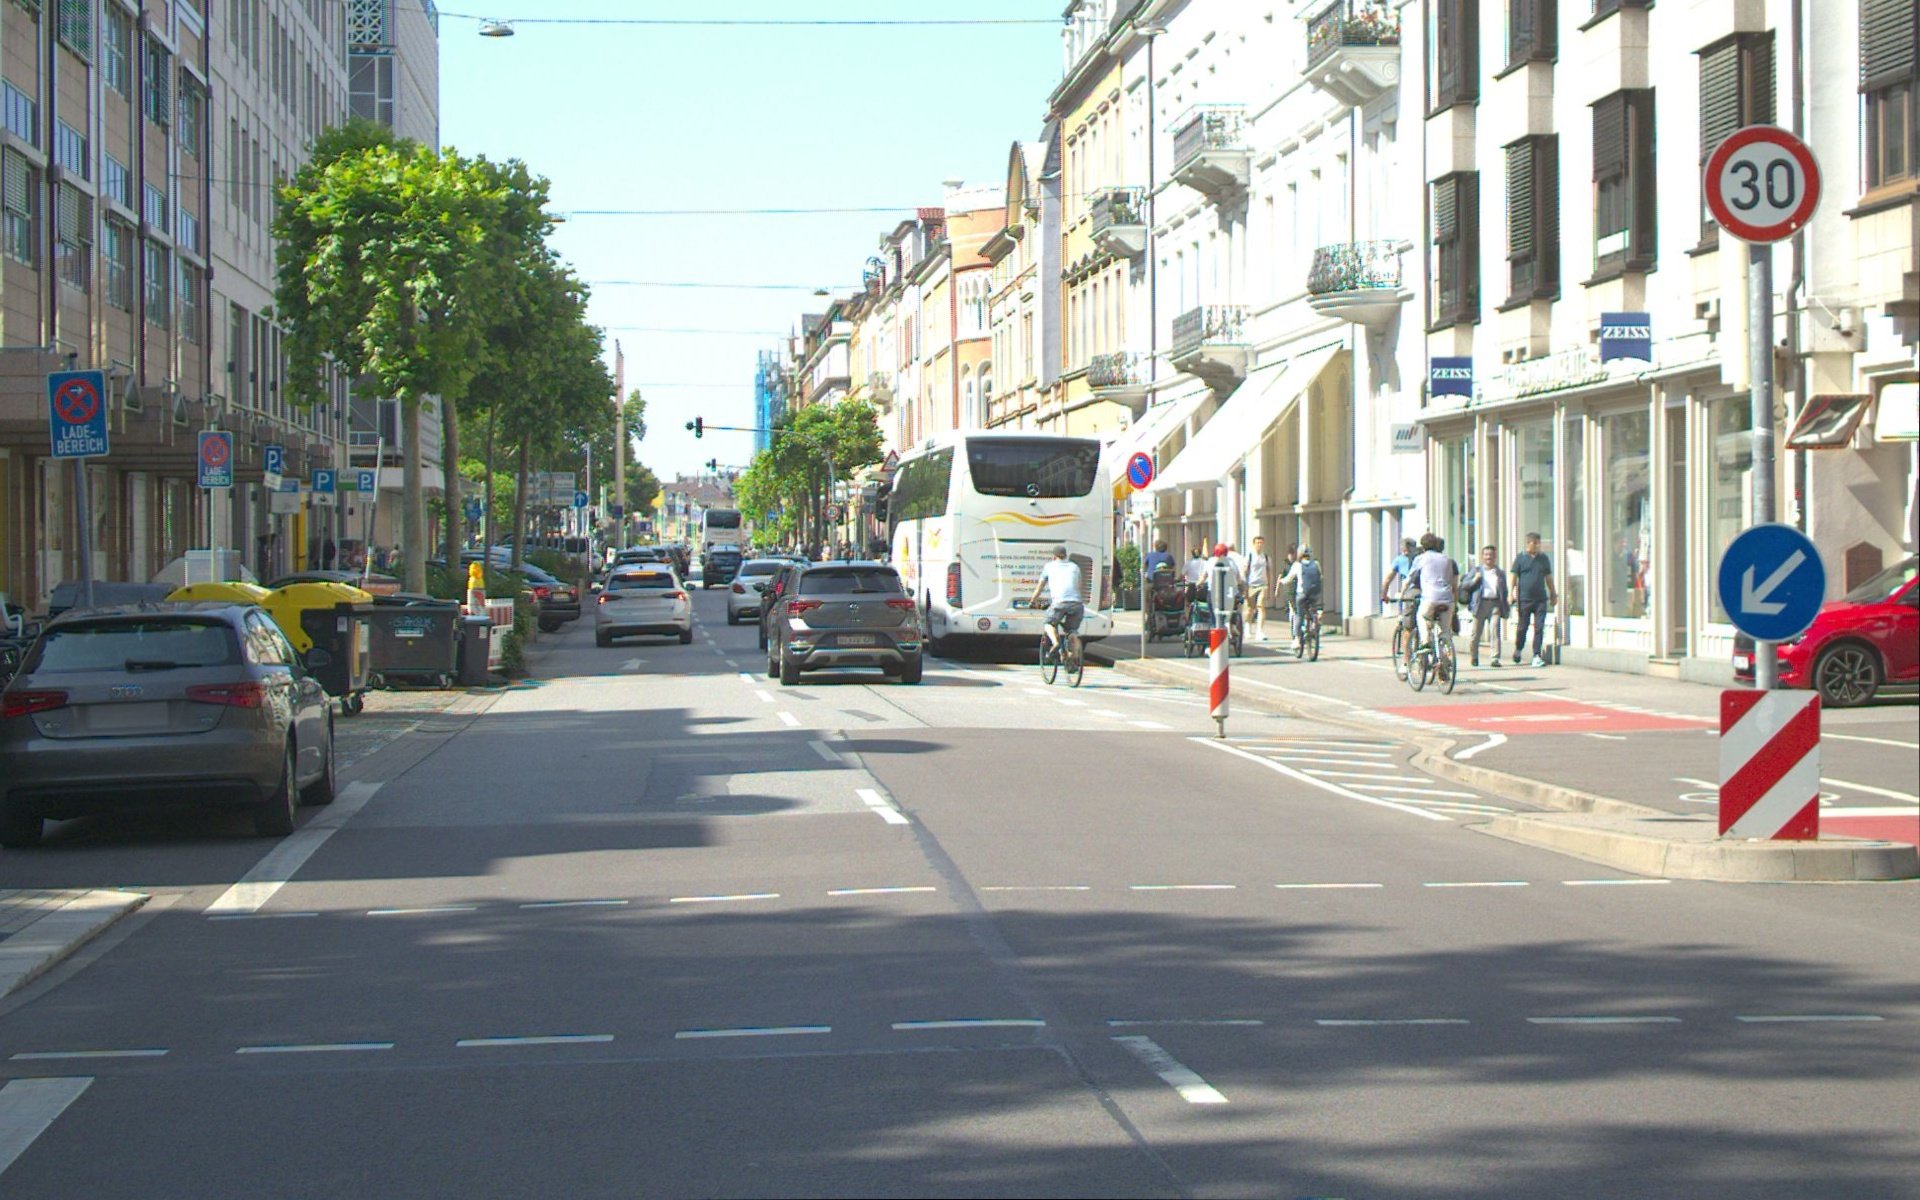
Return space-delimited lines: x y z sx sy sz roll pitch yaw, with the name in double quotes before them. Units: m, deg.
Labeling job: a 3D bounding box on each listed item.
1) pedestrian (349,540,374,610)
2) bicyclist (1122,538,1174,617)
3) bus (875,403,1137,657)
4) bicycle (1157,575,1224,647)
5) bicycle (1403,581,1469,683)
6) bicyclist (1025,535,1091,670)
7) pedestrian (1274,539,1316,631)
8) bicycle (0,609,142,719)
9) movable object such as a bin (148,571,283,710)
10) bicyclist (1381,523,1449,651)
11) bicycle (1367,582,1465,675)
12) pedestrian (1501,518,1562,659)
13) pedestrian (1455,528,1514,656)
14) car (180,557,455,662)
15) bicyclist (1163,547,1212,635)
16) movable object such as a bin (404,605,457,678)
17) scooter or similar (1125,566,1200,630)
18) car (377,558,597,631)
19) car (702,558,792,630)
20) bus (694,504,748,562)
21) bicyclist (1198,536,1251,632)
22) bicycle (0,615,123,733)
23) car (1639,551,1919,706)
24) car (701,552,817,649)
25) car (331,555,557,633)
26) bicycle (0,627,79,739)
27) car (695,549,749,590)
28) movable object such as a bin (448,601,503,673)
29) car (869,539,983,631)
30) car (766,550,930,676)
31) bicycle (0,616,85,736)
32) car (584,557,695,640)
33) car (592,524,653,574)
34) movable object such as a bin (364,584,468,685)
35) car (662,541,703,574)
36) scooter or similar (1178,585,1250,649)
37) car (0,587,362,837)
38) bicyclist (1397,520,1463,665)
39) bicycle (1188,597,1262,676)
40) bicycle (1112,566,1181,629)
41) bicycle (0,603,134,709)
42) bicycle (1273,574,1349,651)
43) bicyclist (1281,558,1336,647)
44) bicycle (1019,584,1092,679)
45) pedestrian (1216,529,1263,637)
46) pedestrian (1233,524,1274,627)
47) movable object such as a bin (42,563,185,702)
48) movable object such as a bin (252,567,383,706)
"pedestrian" -14.270 -0.603 82.000 0.565 1.651 0.637 0 1 -12
"bicyclist" 3.325 -0.401 60.830 0.787 1.374 0.723 0 0 -6
"bus" 0.545 -1.138 57.971 2.881 3.729 12.429 2 1 -6
"bicycle" 3.584 0.156 53.682 0.620 1.095 2.353 0 0 -6
"bicycle" 5.443 0.354 39.352 0.594 1.116 1.801 0 1 3
"bicyclist" 1.249 0.026 43.799 0.694 1.668 0.916 2 2 -4
"pedestrian" 5.919 -0.267 60.758 0.645 1.612 0.822 0 -1 -2
"bicycle" -9.717 0.664 36.424 1.973 1.117 0.509 2 -1 -8
"movable object such as a bin" -8.201 0.434 37.938 1.124 1.446 1.439 2 2 1
"bicyclist" 5.516 -0.158 41.687 0.620 1.524 0.869 0 0 -6
"bicycle" 5.518 0.330 41.701 0.620 1.095 2.353 0 0 -6
"pedestrian" 7.601 -0.147 45.748 0.694 1.844 0.835 -1 -1 4
"pedestrian" 7.005 -0.111 45.955 0.694 1.680 0.835 -1 0 4
"car" -9.940 0.115 53.111 4.053 1.489 1.931 2 2 36
"bicyclist" 3.567 -0.141 53.889 0.620 1.366 0.781 0 0 -6
"movable object such as a bin" -7.076 0.556 45.952 0.499 0.936 0.555 -1 2 12
"scooter or similar" 3.490 -0.040 59.434 1.121 1.098 1.085 0 0 -6
"car" -10.432 -0.142 75.703 4.791 1.418 1.879 2 2 35
"car" -4.775 -0.114 76.607 1.833 1.522 4.000 -2 0 -5
"bus" -15.126 -4.253 217.434 2.769 3.592 8.976 -1 1 -8
"bicyclist" 3.794 -0.230 49.312 0.620 1.366 0.781 0 0 -6
"bicycle" -9.331 0.707 33.469 2.235 1.117 0.557 2 -1 -16
"car" 9.084 0.290 34.619 4.044 1.489 1.842 -1 -2 -3
"car" -3.398 0.024 57.925 1.833 1.522 4.000 -2 0 -4
"car" -10.934 -0.143 72.676 4.752 1.528 1.986 2 1 38
"bicycle" -9.259 0.756 32.092 1.962 1.014 0.671 2 -1 -16
"car" -8.665 -1.117 125.046 1.862 1.436 4.001 -1 1 -5
"movable object such as a bin" -6.523 0.494 46.242 0.553 0.936 0.500 -3 2 -31
"car" -0.757 -0.355 73.849 1.827 1.857 4.355 1 1 -8
"car" -1.489 0.154 44.288 1.833 1.522 4.001 1 0 -6
"bicycle" -9.385 0.709 32.807 1.959 1.117 0.557 2 -1 -16
"car" -6.034 0.002 64.426 1.862 1.436 4.000 1 -2 -8
"car" -10.001 -1.519 101.927 1.743 1.436 4.001 -1 1 -5
"movable object such as a bin" -7.059 0.440 44.664 1.277 1.295 0.853 0 0 -5
"car" -13.243 -2.007 163.904 1.862 1.436 4.000 -1 -1 -5
"scooter or similar" 3.828 0.249 51.880 0.865 0.953 1.213 0 0 -7
"car" -5.033 0.636 21.900 1.936 1.350 4.250 -1 1 -4
"bicyclist" 5.341 -0.087 39.110 0.694 1.620 0.835 -1 0 5
"bicycle" 3.790 0.510 49.301 0.620 1.095 2.353 0 0 -6
"bicycle" 3.303 -0.052 61.130 0.838 1.095 2.353 0 0 -6
"bicycle" -9.579 0.588 35.795 1.843 1.069 0.557 -1 -1 -8
"bicycle" 5.116 0.164 50.239 0.620 1.095 2.353 0 0 -6
"bicyclist" 5.103 0.031 50.343 0.620 1.292 0.867 0 0 -6
"bicycle" 1.214 0.388 44.071 0.664 1.116 2.244 2 1 -5
"pedestrian" 4.476 -0.279 55.174 0.620 1.714 0.835 0 1 -5
"pedestrian" 5.116 -0.416 60.014 0.573 1.772 1.020 0 -1 -2
"movable object such as a bin" -9.364 0.347 38.083 1.209 1.446 1.364 2 2 1
"movable object such as a bin" -7.071 0.385 37.919 1.124 1.446 1.439 2 2 1
